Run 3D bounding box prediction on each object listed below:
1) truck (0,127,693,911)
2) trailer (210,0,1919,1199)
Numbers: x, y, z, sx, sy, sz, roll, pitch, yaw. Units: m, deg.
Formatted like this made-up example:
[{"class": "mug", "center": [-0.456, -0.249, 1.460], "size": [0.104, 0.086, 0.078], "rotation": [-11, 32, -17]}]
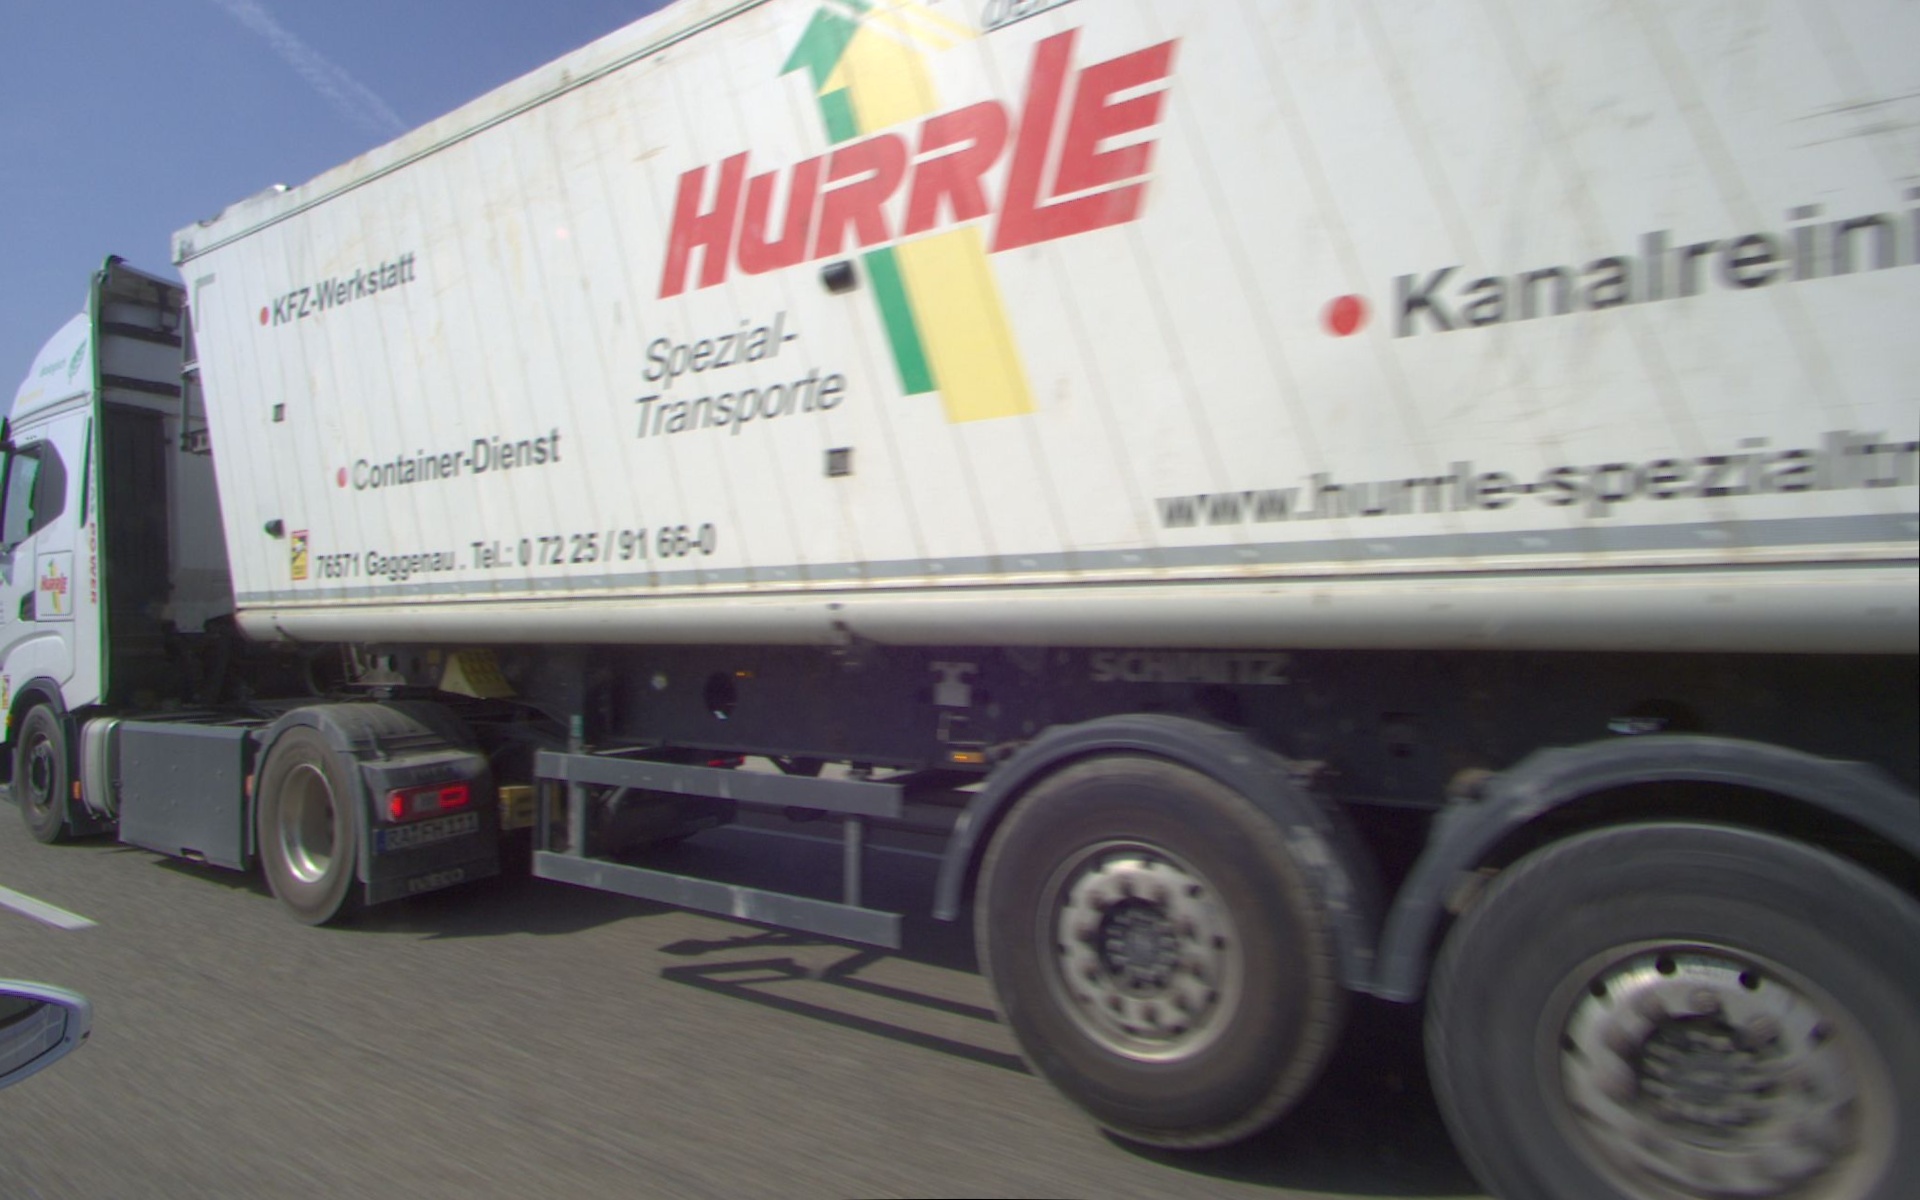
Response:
[{"class": "truck", "center": [-5.000, -0.324, 7.650], "size": [5.567, 3.945, 2.654], "rotation": [-1, -2, 32]}, {"class": "trailer", "center": [0.687, -0.398, 4.015], "size": [9.533, 3.957, 2.675], "rotation": [0, -1, 32]}]
